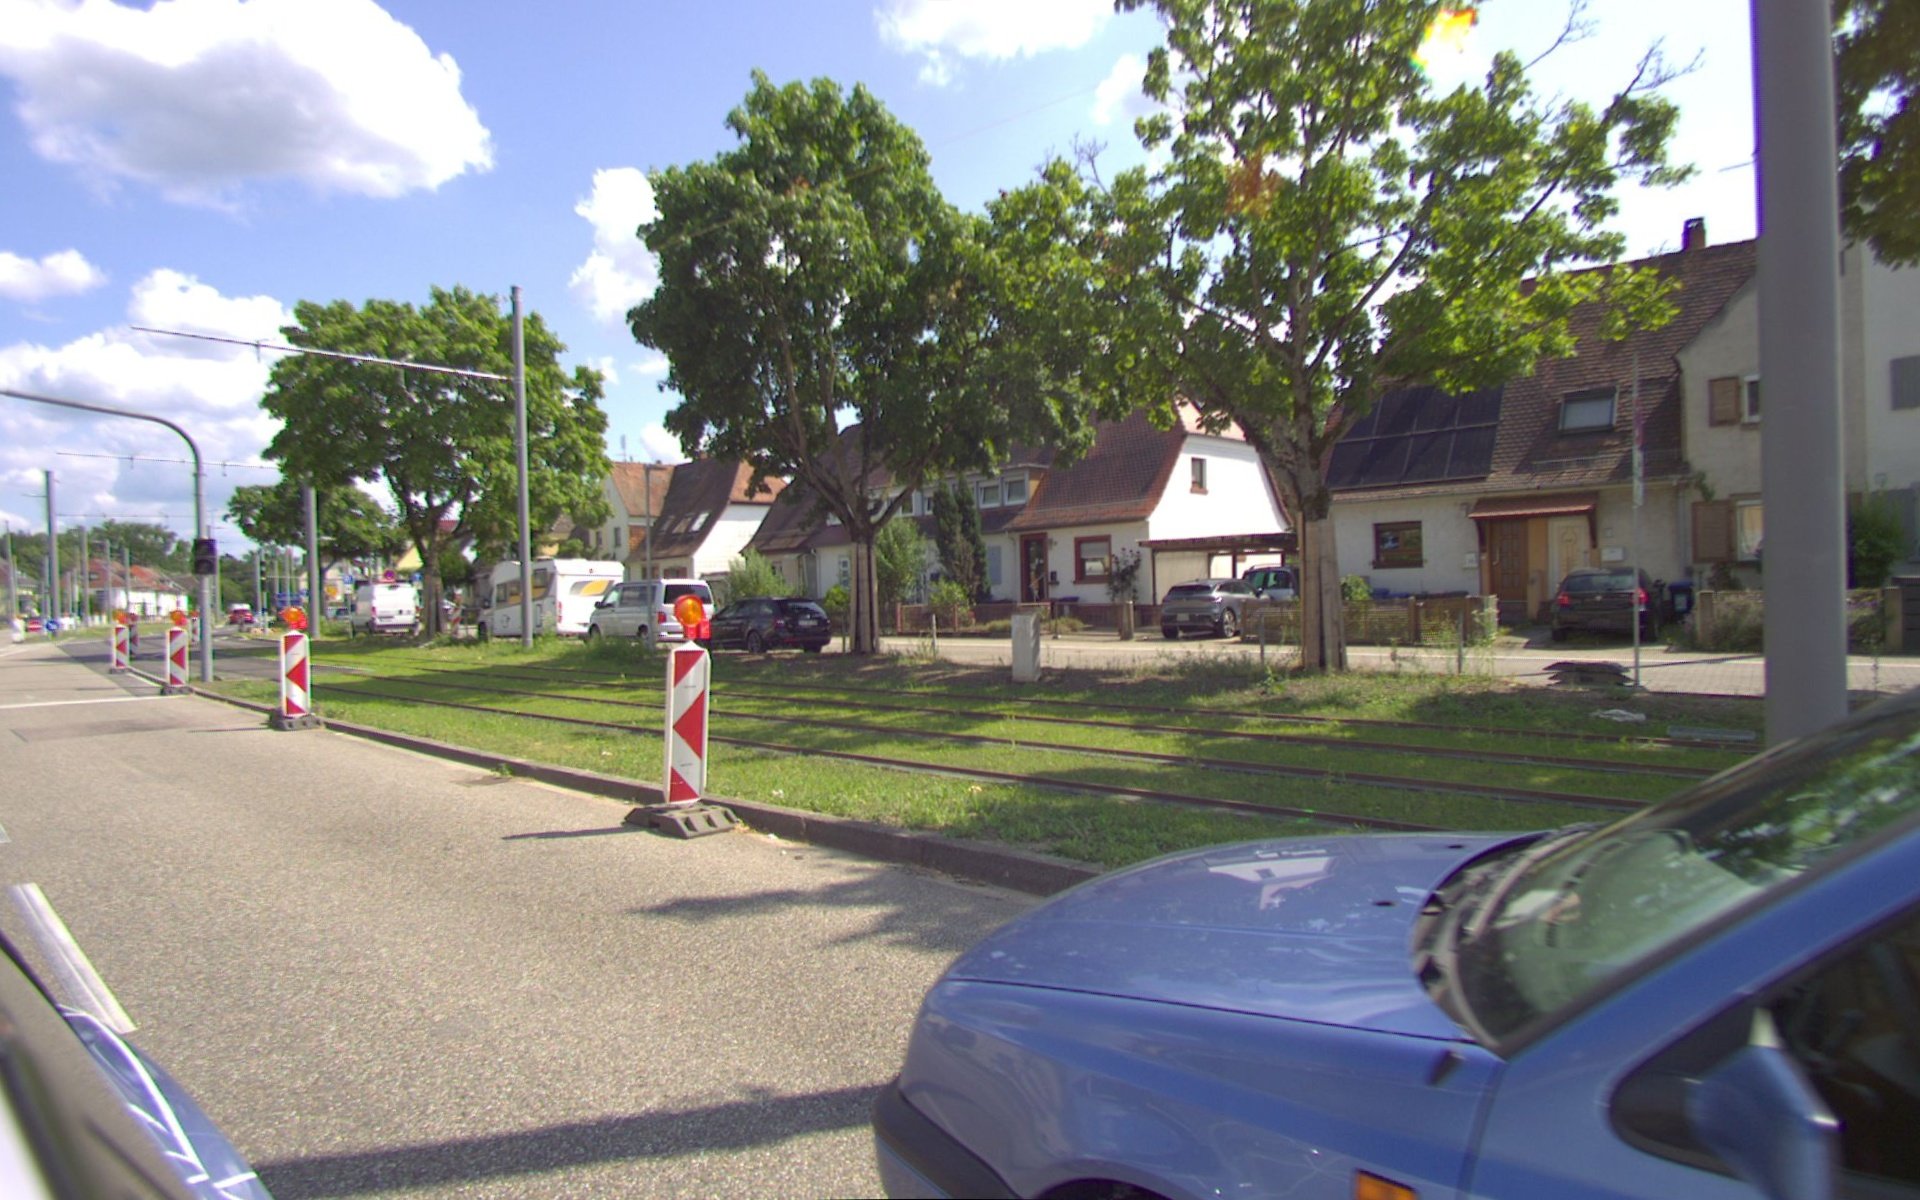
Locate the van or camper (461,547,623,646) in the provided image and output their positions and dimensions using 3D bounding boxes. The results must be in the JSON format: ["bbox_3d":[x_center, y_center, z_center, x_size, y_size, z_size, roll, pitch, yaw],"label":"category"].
[{"bbox_3d":[-14.190,-0.050,34.023,7.299,2.992,2.349,-1,0,45],"label":"van or camper"}]

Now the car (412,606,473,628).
[{"bbox_3d":[-40.863,1.345,79.932,3.904,1.556,1.762,-1,0,-45],"label":"car"}]

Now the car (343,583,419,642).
[{"bbox_3d":[-27.836,0.598,48.583,2.127,2.688,4.921,-1,0,-43],"label":"car"}]

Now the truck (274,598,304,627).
[{"bbox_3d":[-78.635,1.455,118.533,2.797,3.178,7.955,-1,0,-34],"label":"truck"}]

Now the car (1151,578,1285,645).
[{"bbox_3d":[6.764,0.262,26.294,1.872,1.541,3.948,-2,1,39],"label":"car"}]

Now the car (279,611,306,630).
[{"bbox_3d":[-58.604,1.809,88.940,1.701,1.538,4.784,-1,0,-31],"label":"car"}]

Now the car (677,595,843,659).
[{"bbox_3d":[-5.042,0.629,24.977,1.829,1.397,4.815,-2,0,-41],"label":"car"}]

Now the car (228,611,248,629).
[{"bbox_3d":[-80.673,2.245,113.006,1.703,1.868,4.552,-1,0,-37],"label":"car"}]

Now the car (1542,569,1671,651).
[{"bbox_3d":[12.958,0.163,20.203,1.733,1.468,3.845,-2,0,39],"label":"car"}]

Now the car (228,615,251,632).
[{"bbox_3d":[-68.358,2.208,96.016,1.702,1.574,4.552,-1,0,-36],"label":"car"}]

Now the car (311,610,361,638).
[{"bbox_3d":[-35.072,1.317,56.836,1.671,1.476,4.762,-1,0,-41],"label":"car"}]

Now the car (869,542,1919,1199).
[{"bbox_3d":[1.906,0.689,0.983,3.954,1.460,1.649,-2,-3,39],"label":"car"}]

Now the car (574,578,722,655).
[{"bbox_3d":[-9.075,0.471,29.206,4.906,2.029,1.971,-1,0,45],"label":"car"}]

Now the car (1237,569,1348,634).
[{"bbox_3d":[9.874,0.021,29.897,1.797,1.750,3.948,-2,1,39],"label":"car"}]
